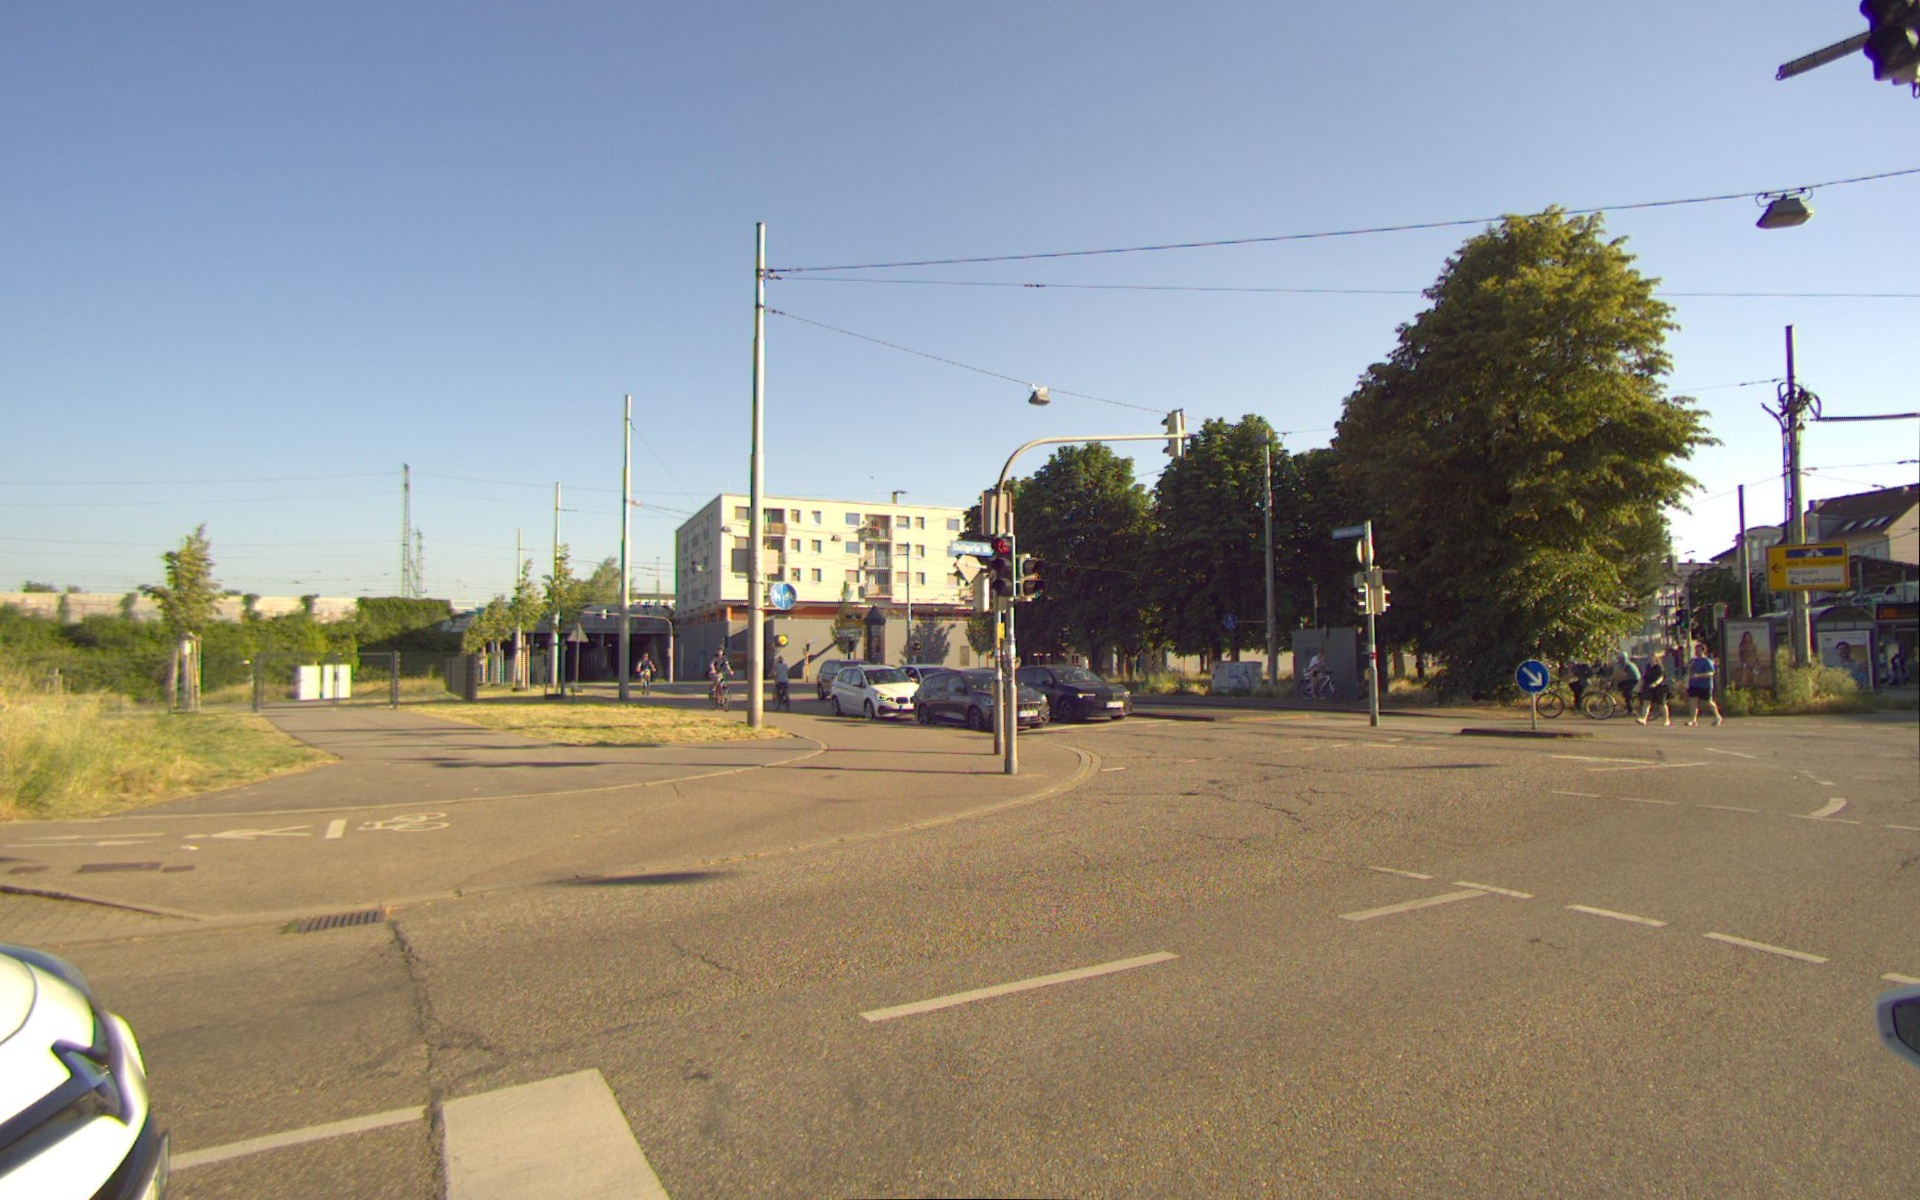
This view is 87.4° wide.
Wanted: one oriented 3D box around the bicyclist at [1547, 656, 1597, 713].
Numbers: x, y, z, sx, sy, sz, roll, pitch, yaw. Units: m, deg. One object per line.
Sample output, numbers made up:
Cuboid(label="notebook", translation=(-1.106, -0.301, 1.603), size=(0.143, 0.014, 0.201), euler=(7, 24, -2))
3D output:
Cuboid(label="bicyclist", translation=(17.185, 2.357, 28.194), size=(0.656, 1.552, 1.024), euler=(3, -4, -44))

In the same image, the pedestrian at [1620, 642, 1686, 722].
Cuboid(label="pedestrian", translation=(15.791, 1.851, 22.898), size=(1.058, 1.769, 0.905), euler=(2, -4, -38))

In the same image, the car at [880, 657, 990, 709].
Cuboid(label="car", translation=(-0.933, 2.726, 33.651), size=(1.975, 1.587, 4.426), euler=(1, -4, -27))

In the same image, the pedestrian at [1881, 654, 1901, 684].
Cuboid(label="pedestrian", translation=(47.965, 3.543, 51.752), size=(0.558, 1.520, 0.677), euler=(-2, -4, 32))

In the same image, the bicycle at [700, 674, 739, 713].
Cuboid(label="bicycle", translation=(-7.124, 2.737, 29.655), size=(0.744, 1.107, 1.937), euler=(1, -4, -25))

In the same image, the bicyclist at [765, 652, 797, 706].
Cuboid(label="bicyclist", translation=(-5.544, 2.445, 31.098), size=(0.767, 1.626, 0.852), euler=(1, -3, -27))

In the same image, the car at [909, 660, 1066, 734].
Cuboid(label="car", translation=(0.542, 2.265, 24.257), size=(1.975, 1.587, 4.246), euler=(0, -3, -27))

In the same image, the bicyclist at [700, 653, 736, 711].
Cuboid(label="bicyclist", translation=(-7.135, 2.400, 29.619), size=(0.867, 1.646, 0.967), euler=(1, -3, -25))

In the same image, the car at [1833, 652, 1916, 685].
Cuboid(label="car", translation=(59.359, 4.429, 65.343), size=(2.017, 1.987, 5.153), euler=(-4, -4, 19))

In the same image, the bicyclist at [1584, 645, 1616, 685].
Cuboid(label="bicyclist", translation=(27.060, 2.743, 42.494), size=(0.870, 1.673, 0.670), euler=(0, -3, -4))

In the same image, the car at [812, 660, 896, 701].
Cuboid(label="car", translation=(-4.386, 3.242, 40.925), size=(1.975, 1.587, 4.426), euler=(1, -4, -27))

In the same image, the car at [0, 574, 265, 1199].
Cuboid(label="car", translation=(-3.054, 0.716, 1.005), size=(3.733, 1.488, 1.692), euler=(2, -4, -32))

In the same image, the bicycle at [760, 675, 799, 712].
Cuboid(label="bicycle", translation=(-5.594, 2.874, 31.059), size=(0.655, 1.083, 2.005), euler=(1, -4, -27))

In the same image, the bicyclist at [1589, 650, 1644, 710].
Cuboid(label="bicyclist", translation=(17.365, 2.103, 26.564), size=(0.693, 1.552, 1.025), euler=(2, -4, -42))

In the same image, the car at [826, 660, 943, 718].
Cuboid(label="car", translation=(-2.336, 2.602, 29.969), size=(1.975, 1.587, 4.246), euler=(1, -4, -27))

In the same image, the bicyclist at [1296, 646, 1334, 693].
Cuboid(label="bicyclist", translation=(12.703, 2.472, 35.952), size=(0.707, 1.650, 1.030), euler=(2, -4, -39))

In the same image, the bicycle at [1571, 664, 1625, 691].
Cuboid(label="bicycle", translation=(26.978, 3.276, 42.463), size=(1.983, 1.083, 0.662), euler=(2, 0, -10))

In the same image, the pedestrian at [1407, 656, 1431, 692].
Cuboid(label="pedestrian", translation=(24.249, 3.918, 53.092), size=(0.675, 1.896, 0.944), euler=(0, -3, -10))

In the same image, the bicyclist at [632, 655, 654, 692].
Cuboid(label="bicyclist", translation=(-13.867, 3.215, 43.902), size=(0.840, 1.567, 1.017), euler=(1, -4, -21))

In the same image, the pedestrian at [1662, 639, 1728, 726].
Cuboid(label="pedestrian", translation=(16.942, 1.887, 23.144), size=(1.058, 1.950, 0.905), euler=(2, -4, -38))

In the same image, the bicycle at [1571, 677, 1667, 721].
Cuboid(label="bicycle", translation=(17.346, 2.599, 26.492), size=(0.659, 1.083, 1.995), euler=(2, -4, -42))

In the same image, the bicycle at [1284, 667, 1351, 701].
Cuboid(label="bicycle", translation=(12.751, 2.974, 35.884), size=(0.695, 1.157, 2.177), euler=(2, -4, -39))

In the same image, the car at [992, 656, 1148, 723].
Cuboid(label="car", translation=(2.778, 2.279, 26.405), size=(2.027, 1.587, 4.423), euler=(1, -4, -26))

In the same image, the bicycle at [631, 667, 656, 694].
Cuboid(label="bicycle", translation=(-13.835, 3.501, 43.892), size=(0.782, 1.164, 2.280), euler=(1, -4, -24))

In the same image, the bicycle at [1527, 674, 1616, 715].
Cuboid(label="bicycle", translation=(17.162, 2.633, 28.232), size=(0.659, 1.083, 1.994), euler=(2, -4, -43))
